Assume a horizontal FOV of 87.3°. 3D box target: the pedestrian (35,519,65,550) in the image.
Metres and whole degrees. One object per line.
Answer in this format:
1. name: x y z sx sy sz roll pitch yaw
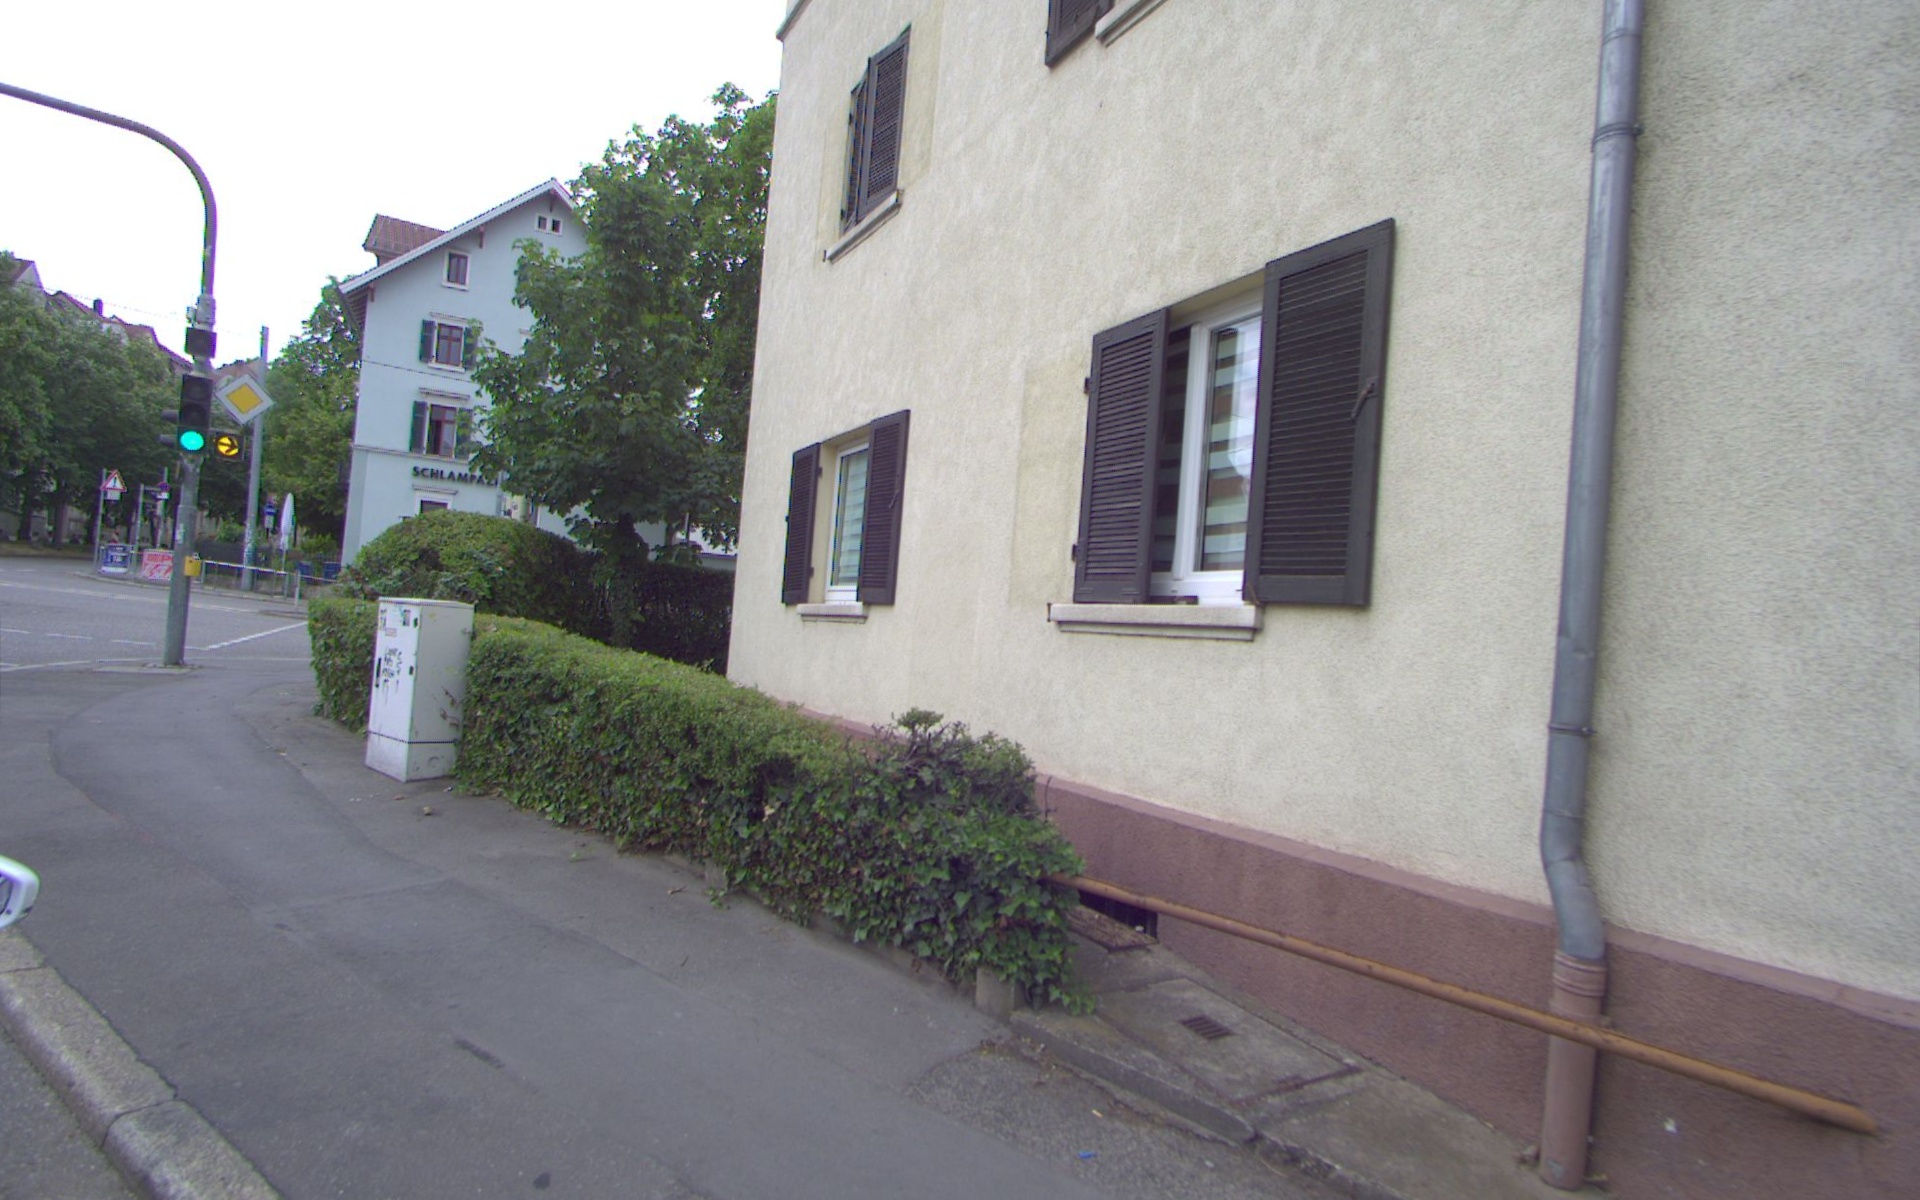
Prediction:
1. pedestrian: -66.778 -4.787 73.799 1.180 2.037 0.984 7 -1 -22
